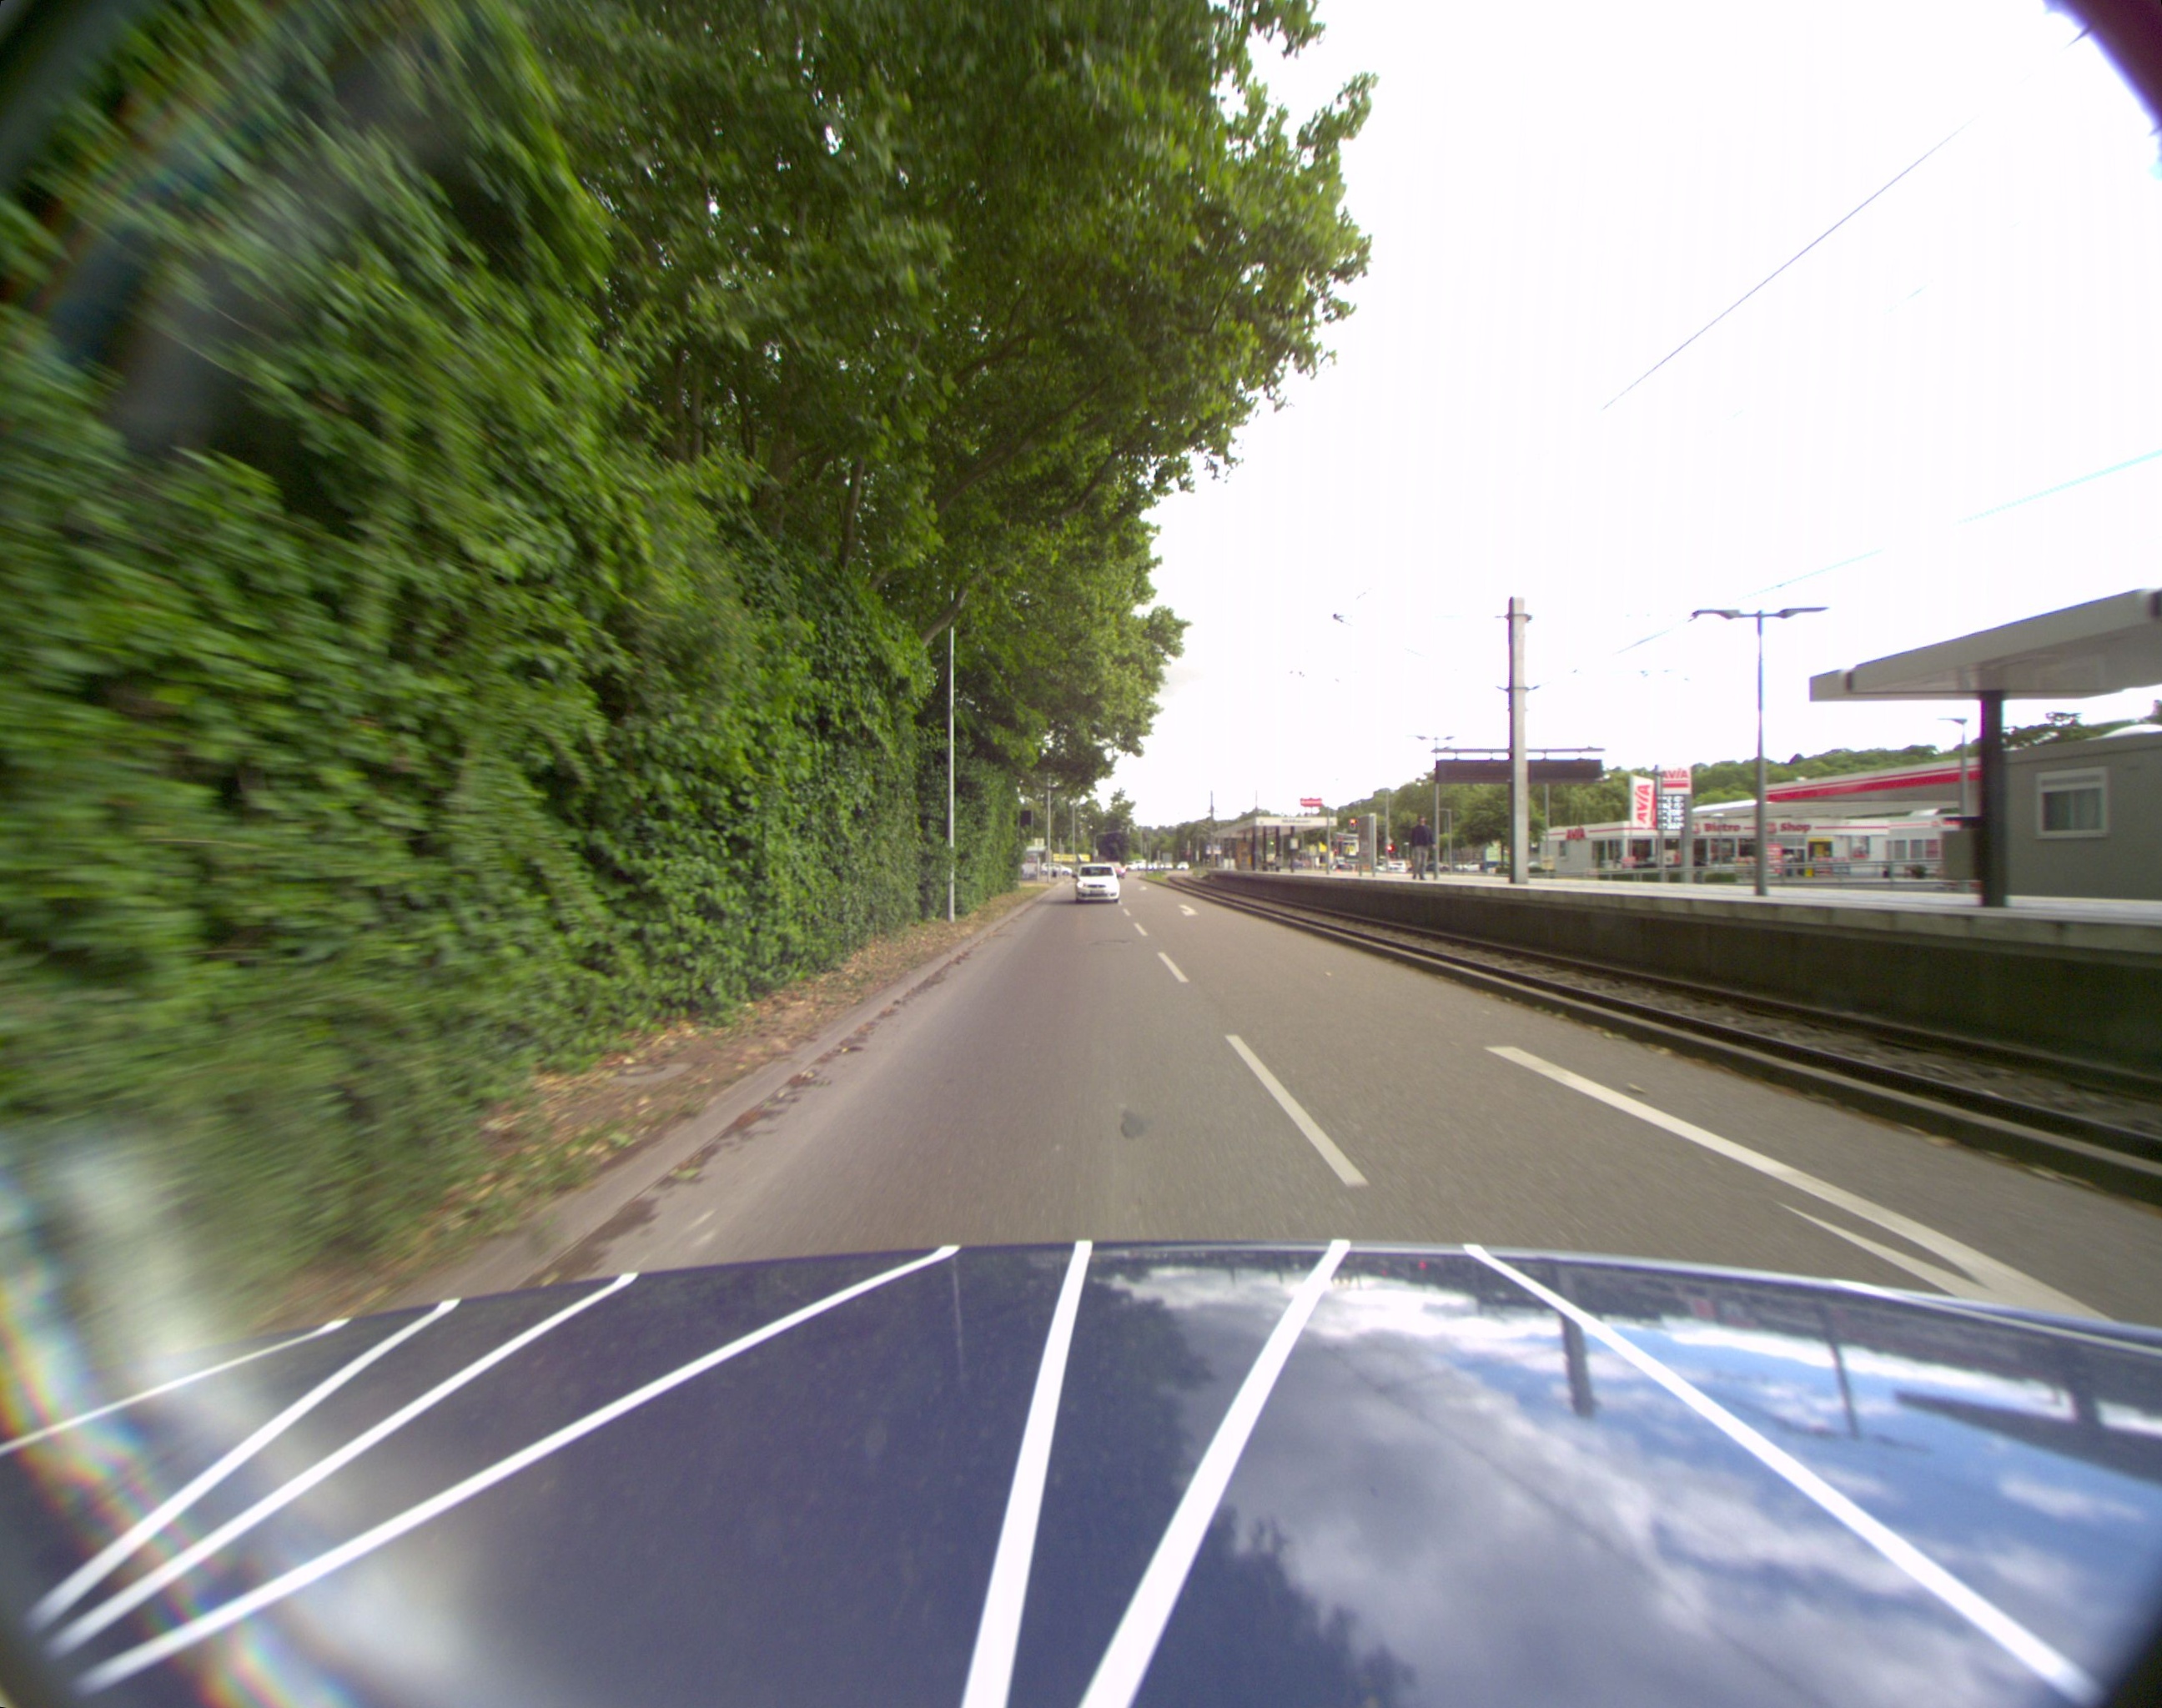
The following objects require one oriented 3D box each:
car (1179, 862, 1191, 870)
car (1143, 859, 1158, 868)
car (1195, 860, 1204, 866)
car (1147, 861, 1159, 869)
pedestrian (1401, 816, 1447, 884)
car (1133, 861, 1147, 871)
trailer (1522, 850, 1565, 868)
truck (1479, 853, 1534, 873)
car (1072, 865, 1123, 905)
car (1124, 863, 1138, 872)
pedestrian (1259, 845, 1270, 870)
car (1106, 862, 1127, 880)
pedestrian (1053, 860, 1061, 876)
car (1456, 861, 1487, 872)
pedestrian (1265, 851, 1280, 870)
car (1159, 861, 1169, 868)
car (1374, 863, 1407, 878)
[{"bbox_3d":[19.090,2.203,139.268,1.965,1.543,4.003,1,0,10],"label":"car"},{"bbox_3d":[12.809,1.760,139.828,1.996,1.527,4.005,1,0,14],"label":"car"},{"bbox_3d":[37.479,2.822,240.164,1.998,2.002,4.000,1,0,1],"label":"car"},{"bbox_3d":[13.808,2.080,145.343,1.829,1.543,4.004,1,0,12],"label":"car"},{"bbox_3d":[9.139,-0.102,20.276,0.750,1.734,0.937,1,0,1],"label":"pedestrian"},{"bbox_3d":[10.055,2.046,130.089,1.807,1.814,4.004,0,0,13],"label":"car"},{"bbox_3d":[59.109,0.621,97.131,4.388,2.245,1.560,1,0,1],"label":"trailer"},{"bbox_3d":[56.035,1.182,100.165,5.820,2.479,2.387,0,0,3],"label":"truck"},{"bbox_3d":[0.594,1.160,29.673,1.674,1.439,3.603,1,0,-4],"label":"car"},{"bbox_3d":[8.287,2.179,125.143,1.718,1.410,4.004,1,0,12],"label":"car"},{"bbox_3d":[11.908,0.216,49.343,0.585,1.611,0.572,1,0,3],"label":"pedestrian"},{"bbox_3d":[3.393,1.570,72.520,1.895,1.607,4.510,0,0,4],"label":"car"},{"bbox_3d":[-2.351,1.331,74.003,0.755,1.505,0.671,1,0,1],"label":"pedestrian"},{"bbox_3d":[57.062,1.832,111.137,3.639,1.545,1.727,1,0,-2],"label":"car"},{"bbox_3d":[11.924,0.382,47.266,0.771,1.182,0.728,0,0,5],"label":"pedestrian"},{"bbox_3d":[16.906,2.132,154.600,1.829,1.543,4.003,1,0,10],"label":"car"},{"bbox_3d":[29.268,1.533,71.992,1.617,1.342,4.031,0,-1,2],"label":"car"}]
